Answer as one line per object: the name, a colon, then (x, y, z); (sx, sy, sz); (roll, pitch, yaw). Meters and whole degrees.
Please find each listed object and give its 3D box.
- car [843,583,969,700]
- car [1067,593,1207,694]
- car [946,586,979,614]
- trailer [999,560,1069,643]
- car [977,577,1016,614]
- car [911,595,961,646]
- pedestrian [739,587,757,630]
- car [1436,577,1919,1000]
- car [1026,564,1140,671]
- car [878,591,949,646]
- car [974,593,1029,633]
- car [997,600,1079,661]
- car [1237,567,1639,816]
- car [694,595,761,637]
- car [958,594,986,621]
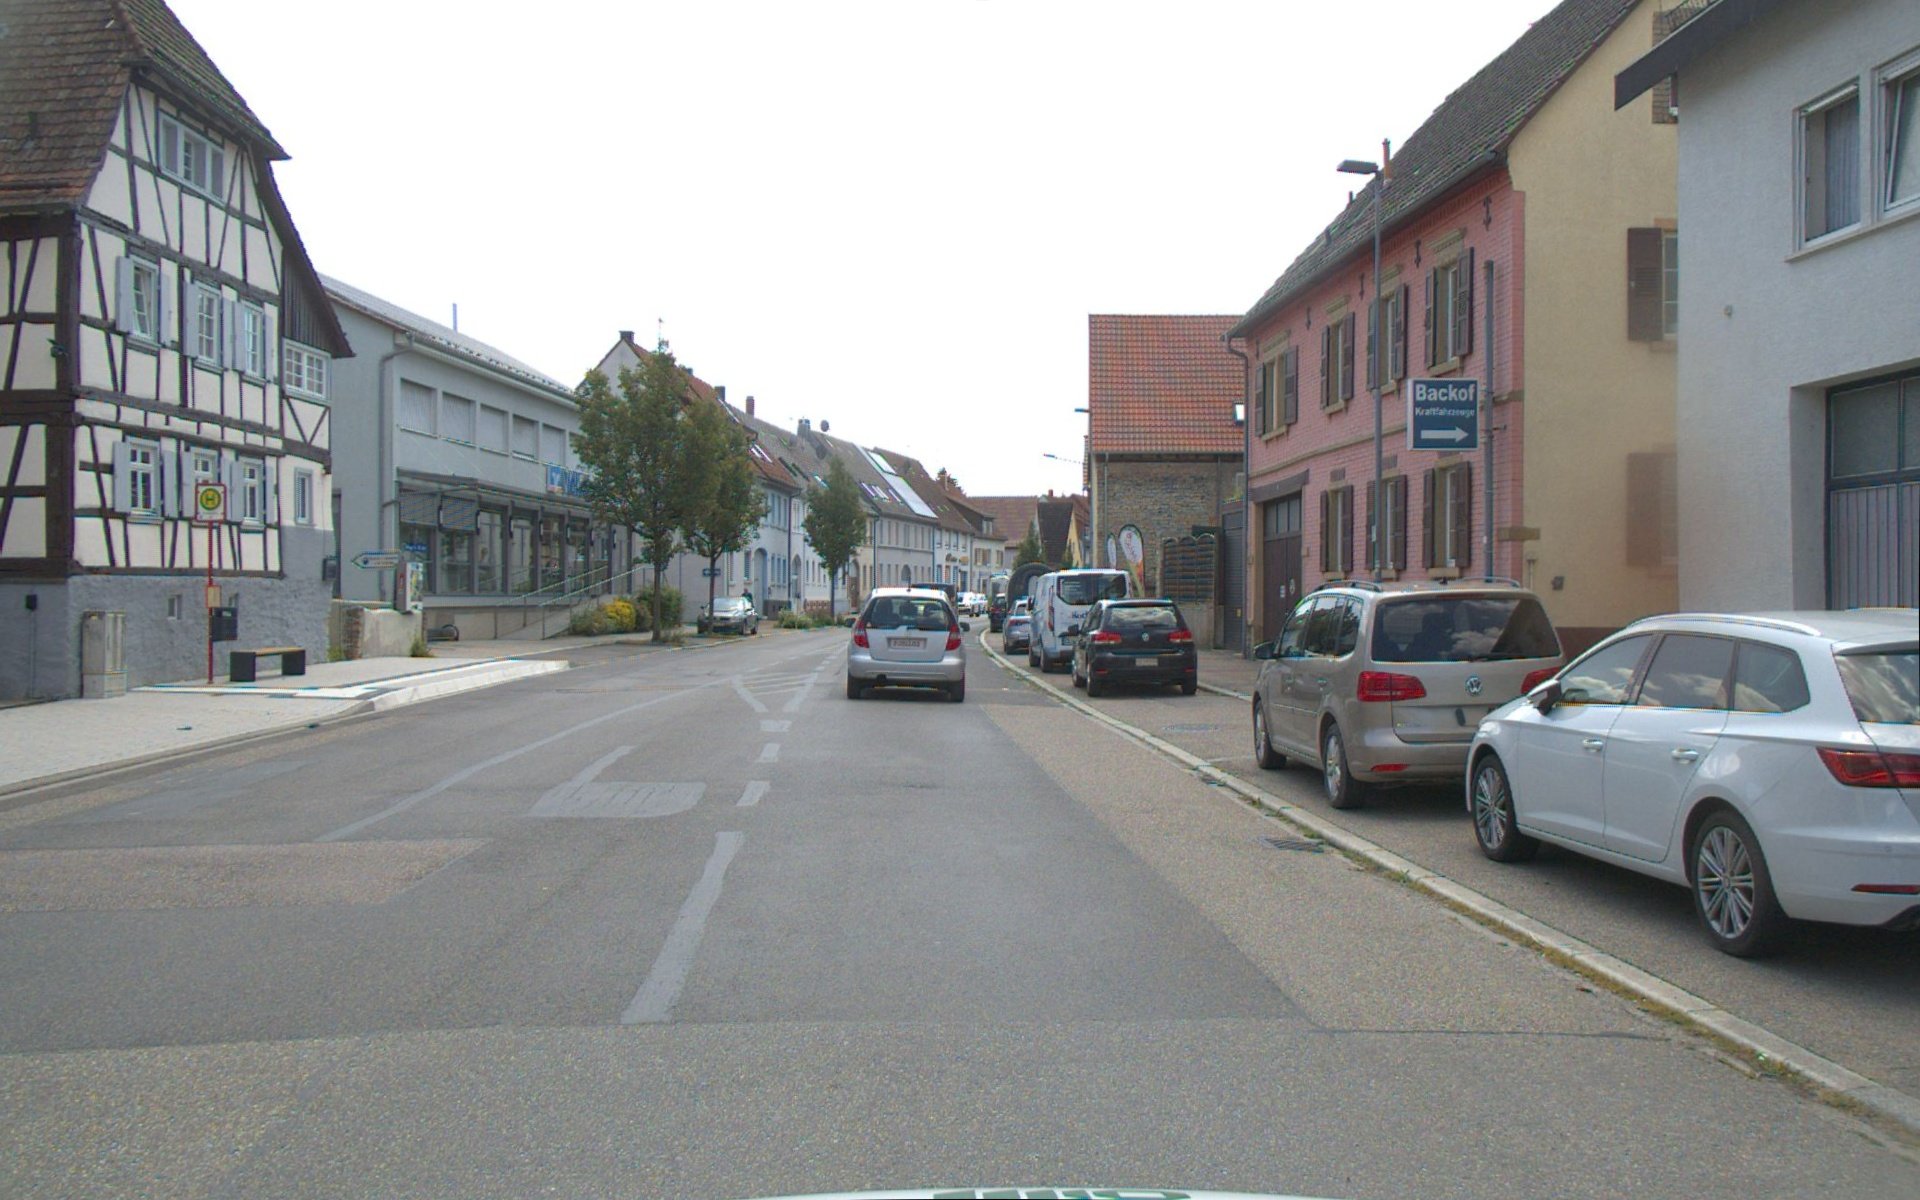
car: (-0.849, 0.601, 25.311); (1.733, 1.622, 3.998); (1, -1, -3)
car: (2.804, 0.661, 27.022); (1.739, 1.521, 4.160); (0, 0, -2)
car: (0.194, 0.037, 110.346); (1.951, 1.780, 4.002); (0, -1, 4)
trailer: (2.176, 0.038, 49.564); (1.808, 2.395, 3.588); (0, 0, -2)
car: (2.335, -0.286, 105.302); (2.188, 2.261, 4.002); (0, -1, 6)
car: (-0.945, 0.832, 67.949); (1.732, 1.920, 4.448); (3, -1, 2)
pedestrian: (-9.222, 0.378, 71.994); (0.724, 1.833, 0.642); (0, -1, 0)
car: (4.175, 0.695, 8.320); (1.955, 1.544, 4.366); (0, 0, -6)
car: (2.492, 0.341, 34.636); (1.854, 2.017, 4.929); (-2, 0, -2)
car: (-1.363, 0.528, 47.849); (1.906, 1.432, 3.998); (3, -1, -2)
car: (1.740, 0.531, 68.499); (1.951, 1.586, 4.003); (-1, 0, 6)
car: (2.041, 0.777, 44.566); (1.837, 1.507, 4.673); (1, 0, -2)
car: (3.662, 0.636, 13.568); (1.953, 1.710, 4.321); (0, 0, -2)
car: (-8.661, 0.594, 61.997); (1.767, 1.486, 4.159); (1, 0, 2)
car: (0.985, 0.615, 131.251); (1.951, 2.049, 4.002); (0, -1, 5)
